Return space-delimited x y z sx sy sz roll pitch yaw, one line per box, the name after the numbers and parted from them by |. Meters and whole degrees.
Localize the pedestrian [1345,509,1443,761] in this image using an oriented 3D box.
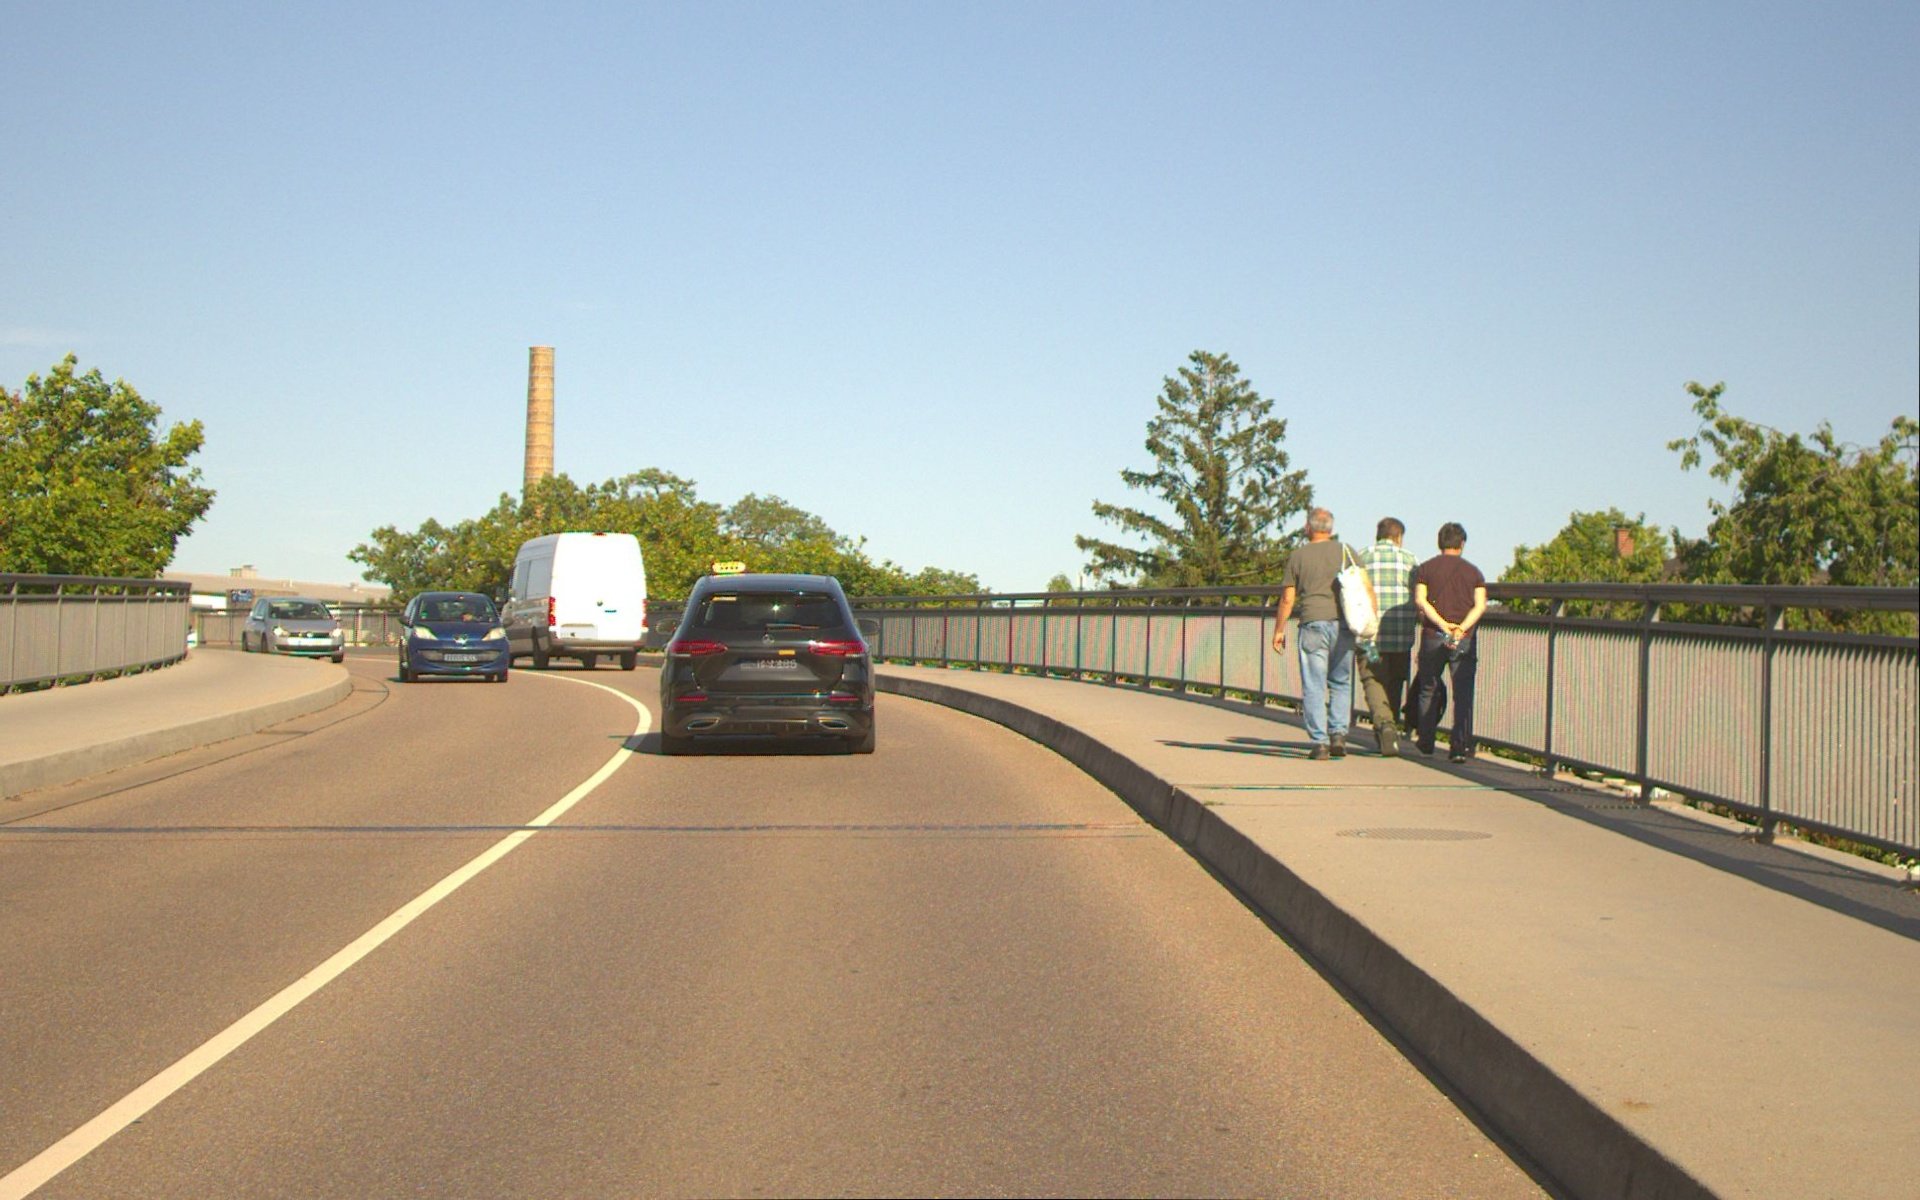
3.070 0.254 24.367 0.549 1.744 0.738 2 -2 -1 | pedestrian

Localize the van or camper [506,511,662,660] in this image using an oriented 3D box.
-7.615 -0.207 68.953 2.225 2.730 7.081 2 -2 -13 | van or camper

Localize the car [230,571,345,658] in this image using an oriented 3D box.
-15.285 0.294 77.988 1.847 1.792 4.001 0 2 -22 | car

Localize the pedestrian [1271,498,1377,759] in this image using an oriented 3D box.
2.489 0.201 23.582 0.602 1.744 0.717 2 -2 -1 | pedestrian

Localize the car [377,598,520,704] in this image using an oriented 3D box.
-8.292 0.803 56.016 1.769 1.587 3.989 2 0 -1 | car

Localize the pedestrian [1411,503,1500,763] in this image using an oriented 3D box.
3.395 0.233 23.577 0.471 1.744 0.654 2 -2 -1 | pedestrian

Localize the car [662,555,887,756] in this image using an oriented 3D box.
-1.680 0.444 29.923 1.769 1.587 3.990 2 0 -5 | car
